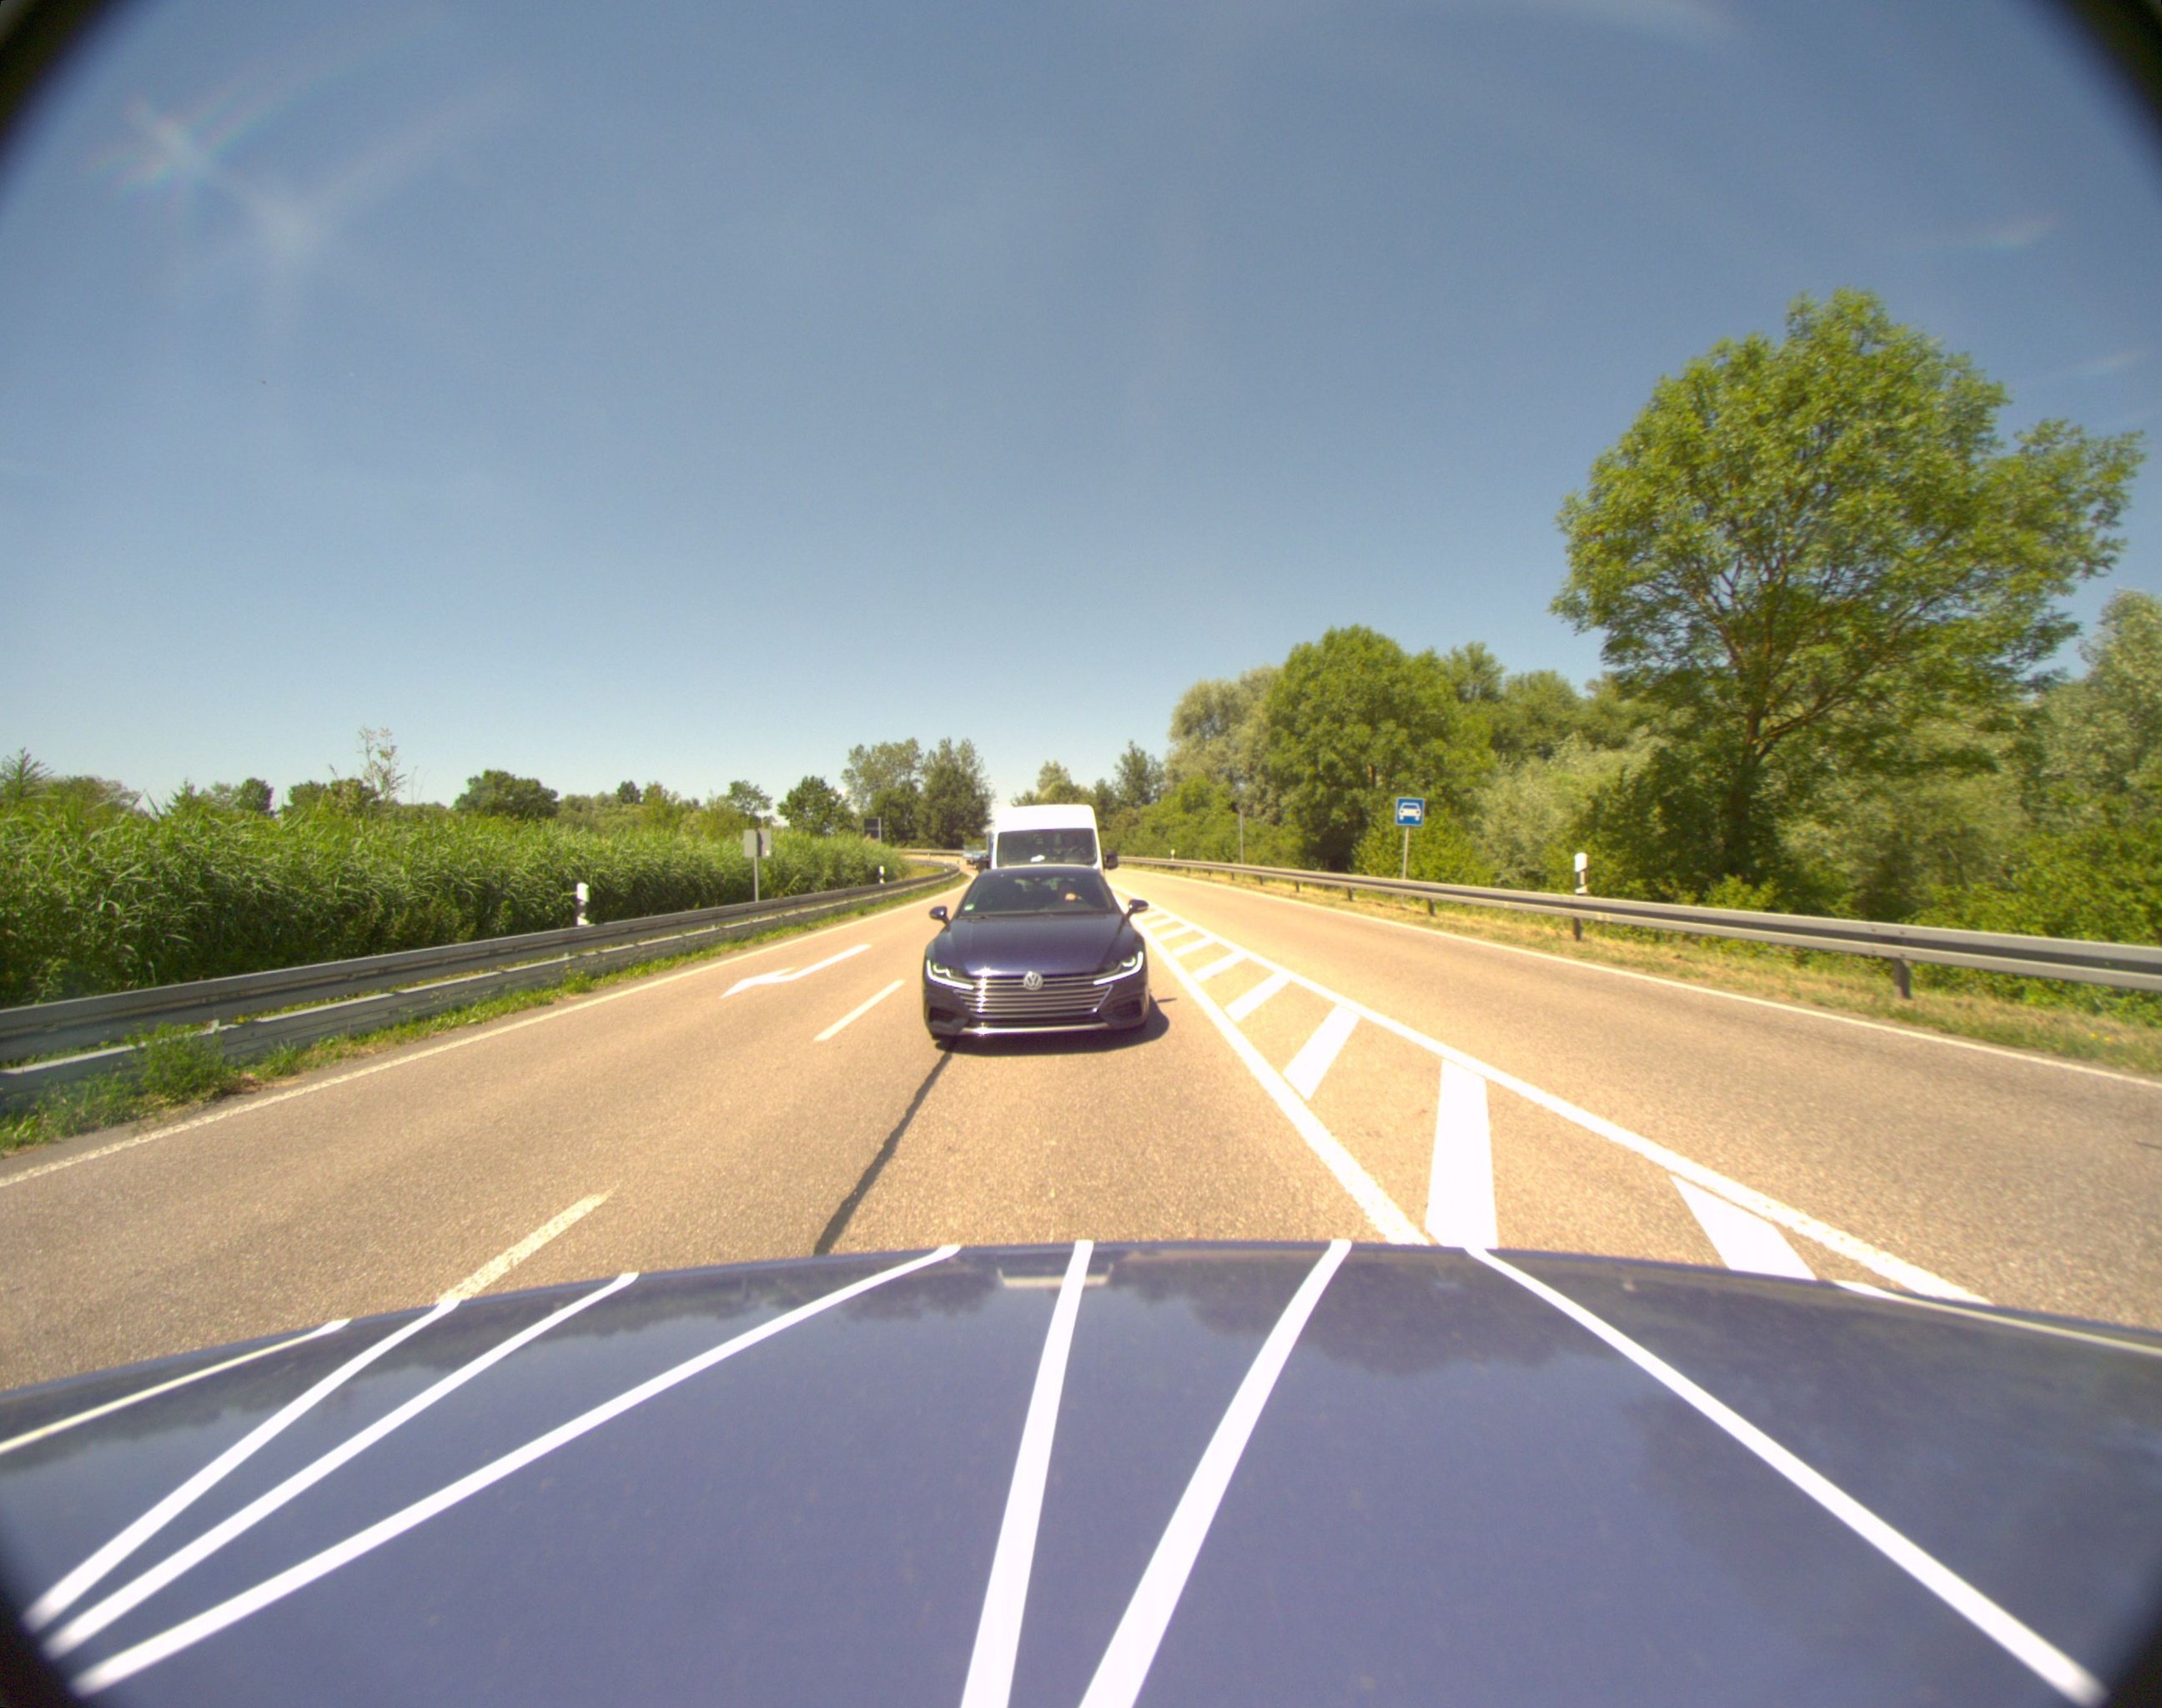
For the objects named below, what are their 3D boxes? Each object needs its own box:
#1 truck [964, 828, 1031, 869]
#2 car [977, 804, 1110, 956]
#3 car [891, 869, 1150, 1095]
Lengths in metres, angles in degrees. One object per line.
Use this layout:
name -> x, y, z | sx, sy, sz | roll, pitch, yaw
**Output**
truck -> -7.025, -0.436, 62.357 | 2.581, 3.052, 9.061 | -2, 1, -25
car -> -0.594, 0.389, 15.129 | 2.059, 2.376, 5.825 | -2, 1, 0
car -> -0.415, 0.939, 7.331 | 1.761, 1.401, 3.999 | -2, 1, 0
